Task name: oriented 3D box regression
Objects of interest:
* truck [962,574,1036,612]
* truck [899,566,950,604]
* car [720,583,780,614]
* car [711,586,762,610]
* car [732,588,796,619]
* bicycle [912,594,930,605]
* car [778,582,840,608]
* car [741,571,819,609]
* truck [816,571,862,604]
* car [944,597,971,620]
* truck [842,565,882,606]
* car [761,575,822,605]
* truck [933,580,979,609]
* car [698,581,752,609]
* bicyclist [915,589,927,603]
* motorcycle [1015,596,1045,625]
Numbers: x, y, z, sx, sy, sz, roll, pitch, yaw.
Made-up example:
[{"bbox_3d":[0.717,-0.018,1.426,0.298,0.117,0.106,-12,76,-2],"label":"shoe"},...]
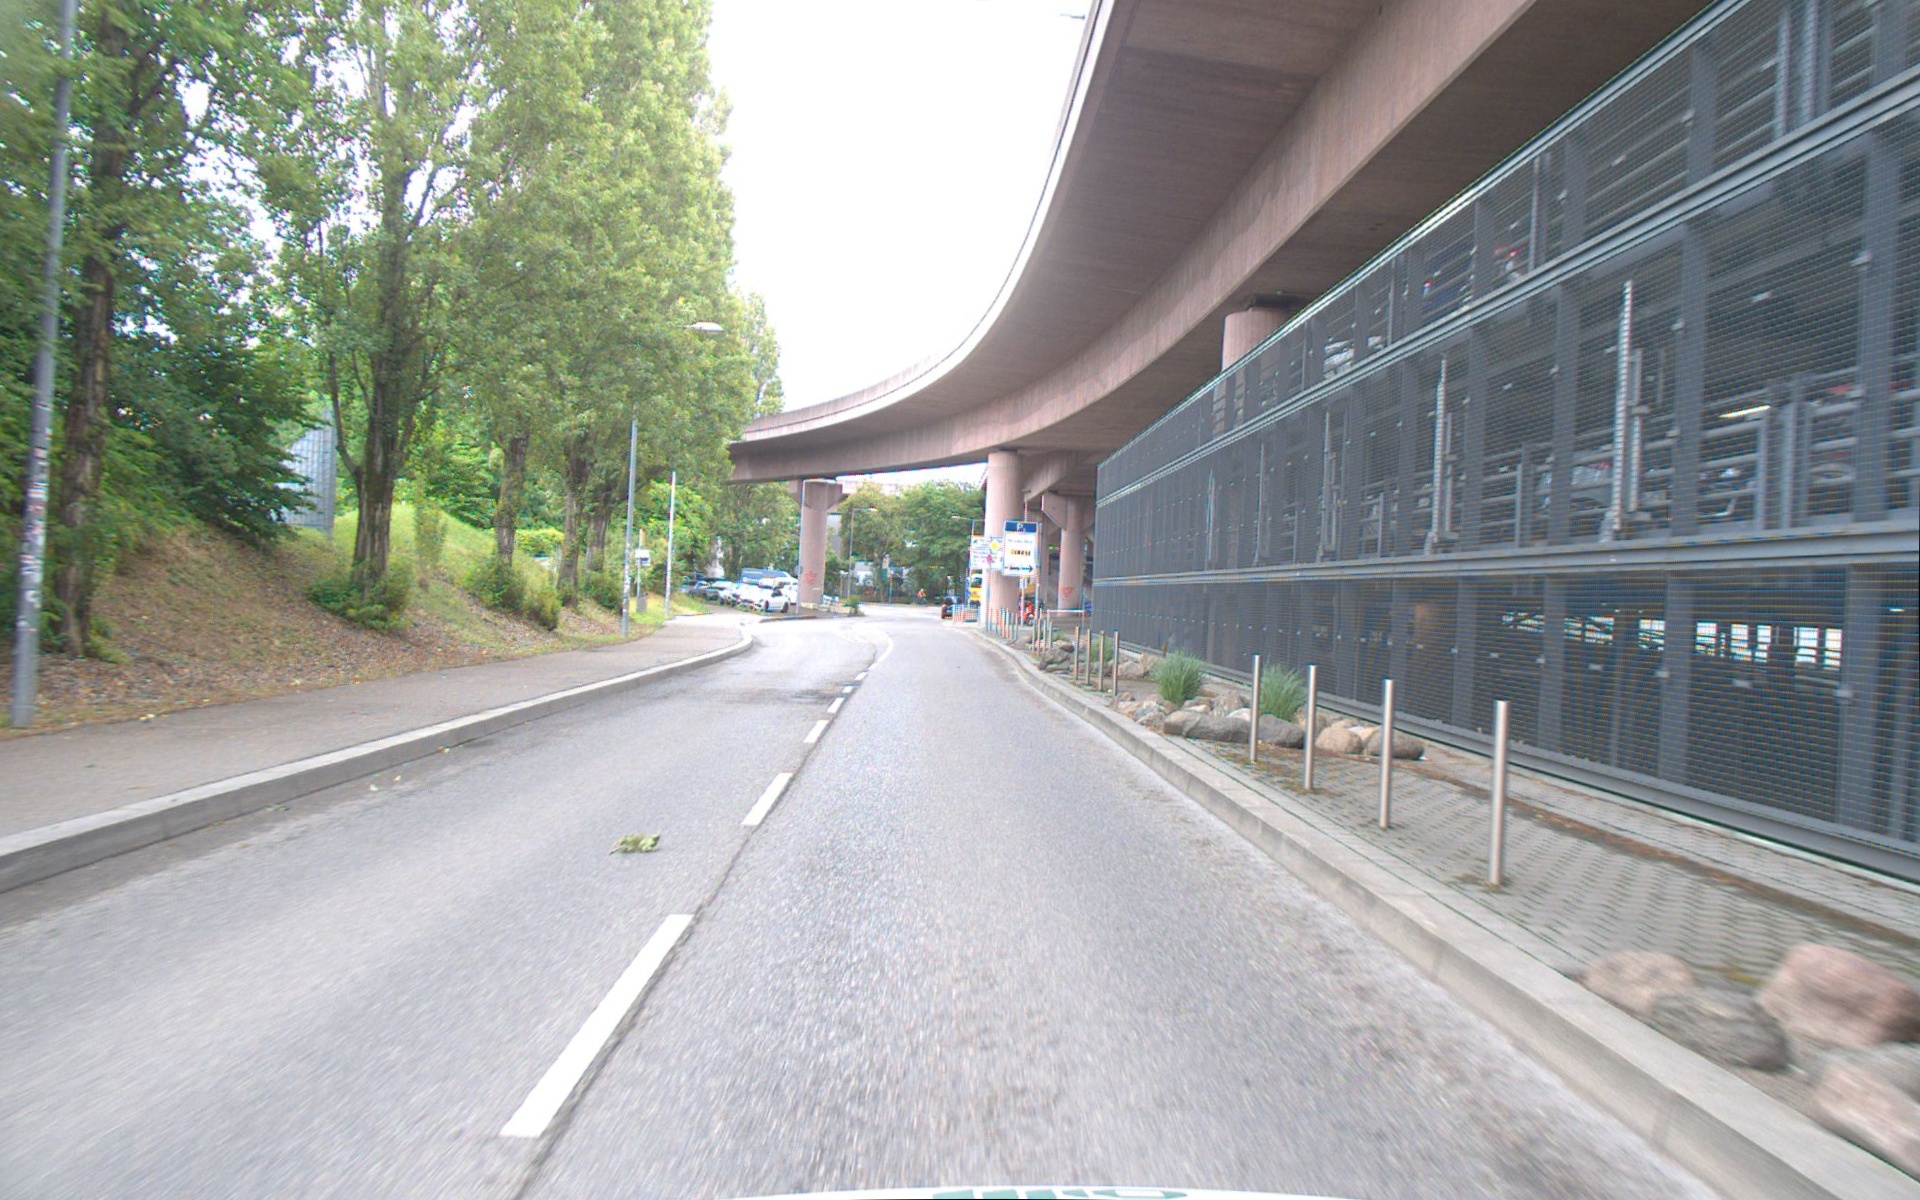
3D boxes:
[{"bbox_3d":[3.931,-0.761,166.232,2.883,3.540,8.203,6,5,39],"label":"truck"},{"bbox_3d":[-3.982,-1.700,183.221,3.023,3.934,7.997,1,2,-22],"label":"truck"},{"bbox_3d":[-13.602,-0.058,107.568,1.954,1.609,4.401,7,0,20],"label":"car"},{"bbox_3d":[-14.989,-0.144,111.102,1.750,1.479,3.746,3,0,22],"label":"car"},{"bbox_3d":[-12.242,0.210,103.724,1.953,1.505,4.829,6,-1,19],"label":"car"},{"bbox_3d":[-3.902,-0.029,165.696,0.794,1.117,2.108,1,0,-32],"label":"bicycle"},{"bbox_3d":[-11.730,-0.374,128.455,4.288,1.633,1.956,5,0,12],"label":"car"},{"bbox_3d":[-14.871,-0.843,136.960,6.048,2.772,2.368,4,0,2],"label":"car"},{"bbox_3d":[-14.939,-1.558,203.493,3.015,3.681,7.859,2,2,-24],"label":"truck"},{"bbox_3d":[-0.221,0.676,129.849,1.953,1.708,4.558,2,0,-2],"label":"car"},{"bbox_3d":[-12.328,-1.826,207.267,3.152,4.863,8.012,1,2,-17],"label":"truck"},{"bbox_3d":[-13.662,-0.771,134.165,4.460,2.147,1.852,4,0,7],"label":"car"},{"bbox_3d":[-0.437,-0.634,184.596,2.874,2.949,6.516,1,2,-22],"label":"truck"},{"bbox_3d":[-16.237,-0.321,114.438,1.819,1.720,4.163,3,0,22],"label":"car"},{"bbox_3d":[-3.879,-0.411,165.687,0.788,1.430,1.055,1,0,-33],"label":"bicyclist"},{"bbox_3d":[3.520,0.541,83.447,0.783,1.390,2.119,1,1,-18],"label":"motorcycle"}]
